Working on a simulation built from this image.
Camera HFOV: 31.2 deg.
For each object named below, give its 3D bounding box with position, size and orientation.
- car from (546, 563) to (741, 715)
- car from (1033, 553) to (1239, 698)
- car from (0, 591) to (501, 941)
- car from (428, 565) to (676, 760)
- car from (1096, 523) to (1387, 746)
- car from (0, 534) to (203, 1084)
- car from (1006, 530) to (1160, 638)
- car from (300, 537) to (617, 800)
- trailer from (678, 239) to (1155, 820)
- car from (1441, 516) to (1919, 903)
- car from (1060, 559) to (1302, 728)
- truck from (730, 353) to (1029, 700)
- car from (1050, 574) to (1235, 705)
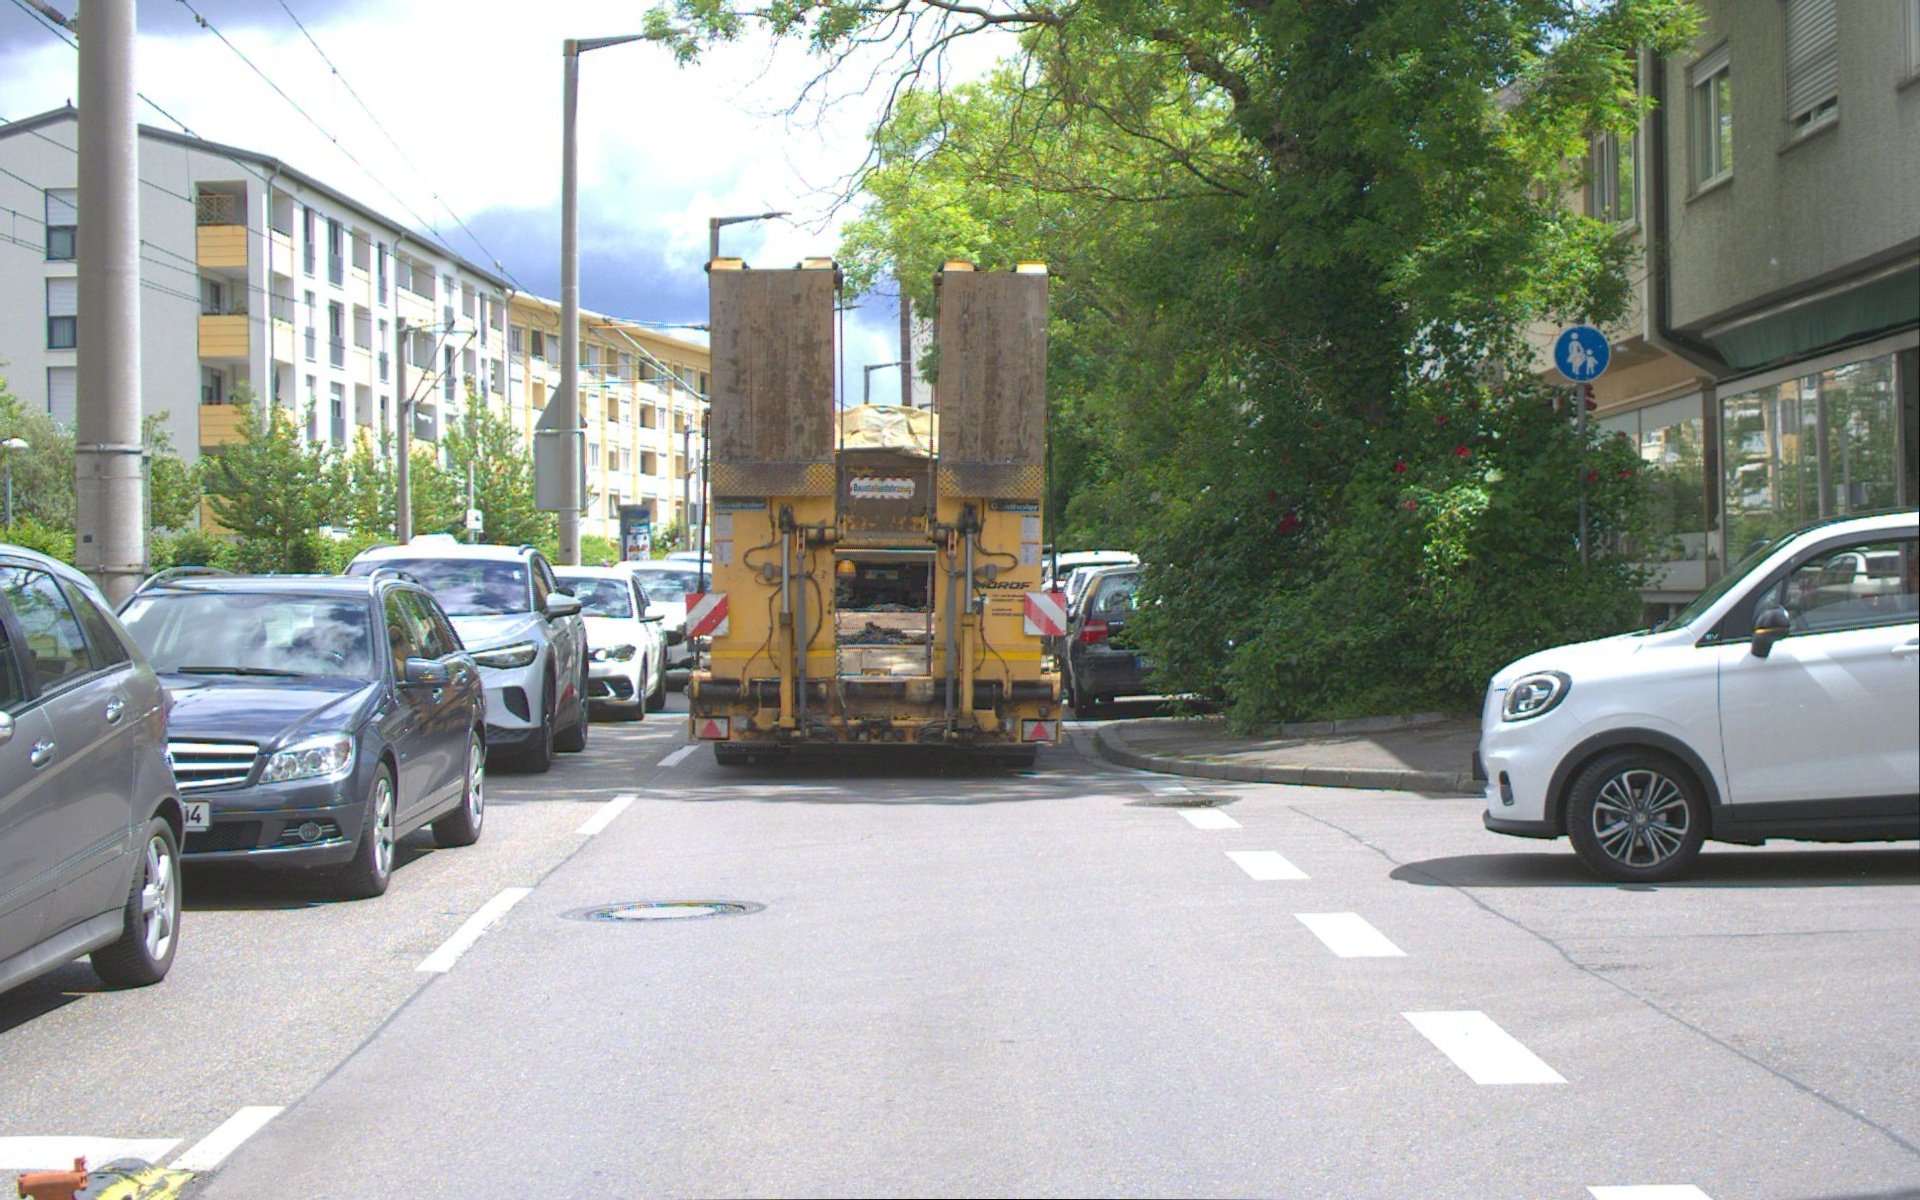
[{"bbox_3d":[-3.695,0.416,40.739,1.993,1.515,3.892,-2,2,-1],"label":"car"},{"bbox_3d":[1.958,0.251,39.322,1.993,1.382,4.001,-2,2,-1],"label":"car"},{"bbox_3d":[-3.335,0.699,16.476,1.602,1.376,3.956,-2,1,1],"label":"car"},{"bbox_3d":[-3.893,0.551,33.417,1.993,1.588,3.892,-2,2,-1],"label":"car"},{"bbox_3d":[2.314,0.232,29.282,1.993,1.612,4.001,-2,2,-1],"label":"car"},{"bbox_3d":[-3.787,0.649,10.695,1.802,1.646,4.132,-2,1,1],"label":"car"},{"bbox_3d":[1.795,-0.264,51.265,1.993,1.382,4.001,-2,2,-1],"label":"car"},{"bbox_3d":[-3.594,0.435,25.244,1.602,1.726,3.938,-2,1,1],"label":"car"},{"bbox_3d":[-0.637,-0.712,28.735,3.050,3.759,11.615,-2,2,-3],"label":"trailer"},{"bbox_3d":[4.024,0.426,15.272,3.600,1.579,1.999,-2,1,11],"label":"car"},{"bbox_3d":[2.128,0.381,34.179,1.993,1.382,4.001,-2,2,-1],"label":"car"},{"bbox_3d":[-1.036,-0.894,37.895,2.833,3.318,7.986,-2,2,-3],"label":"truck"},{"bbox_3d":[2.273,0.468,43.844,1.993,1.382,4.001,-2,2,-1],"label":"car"}]
